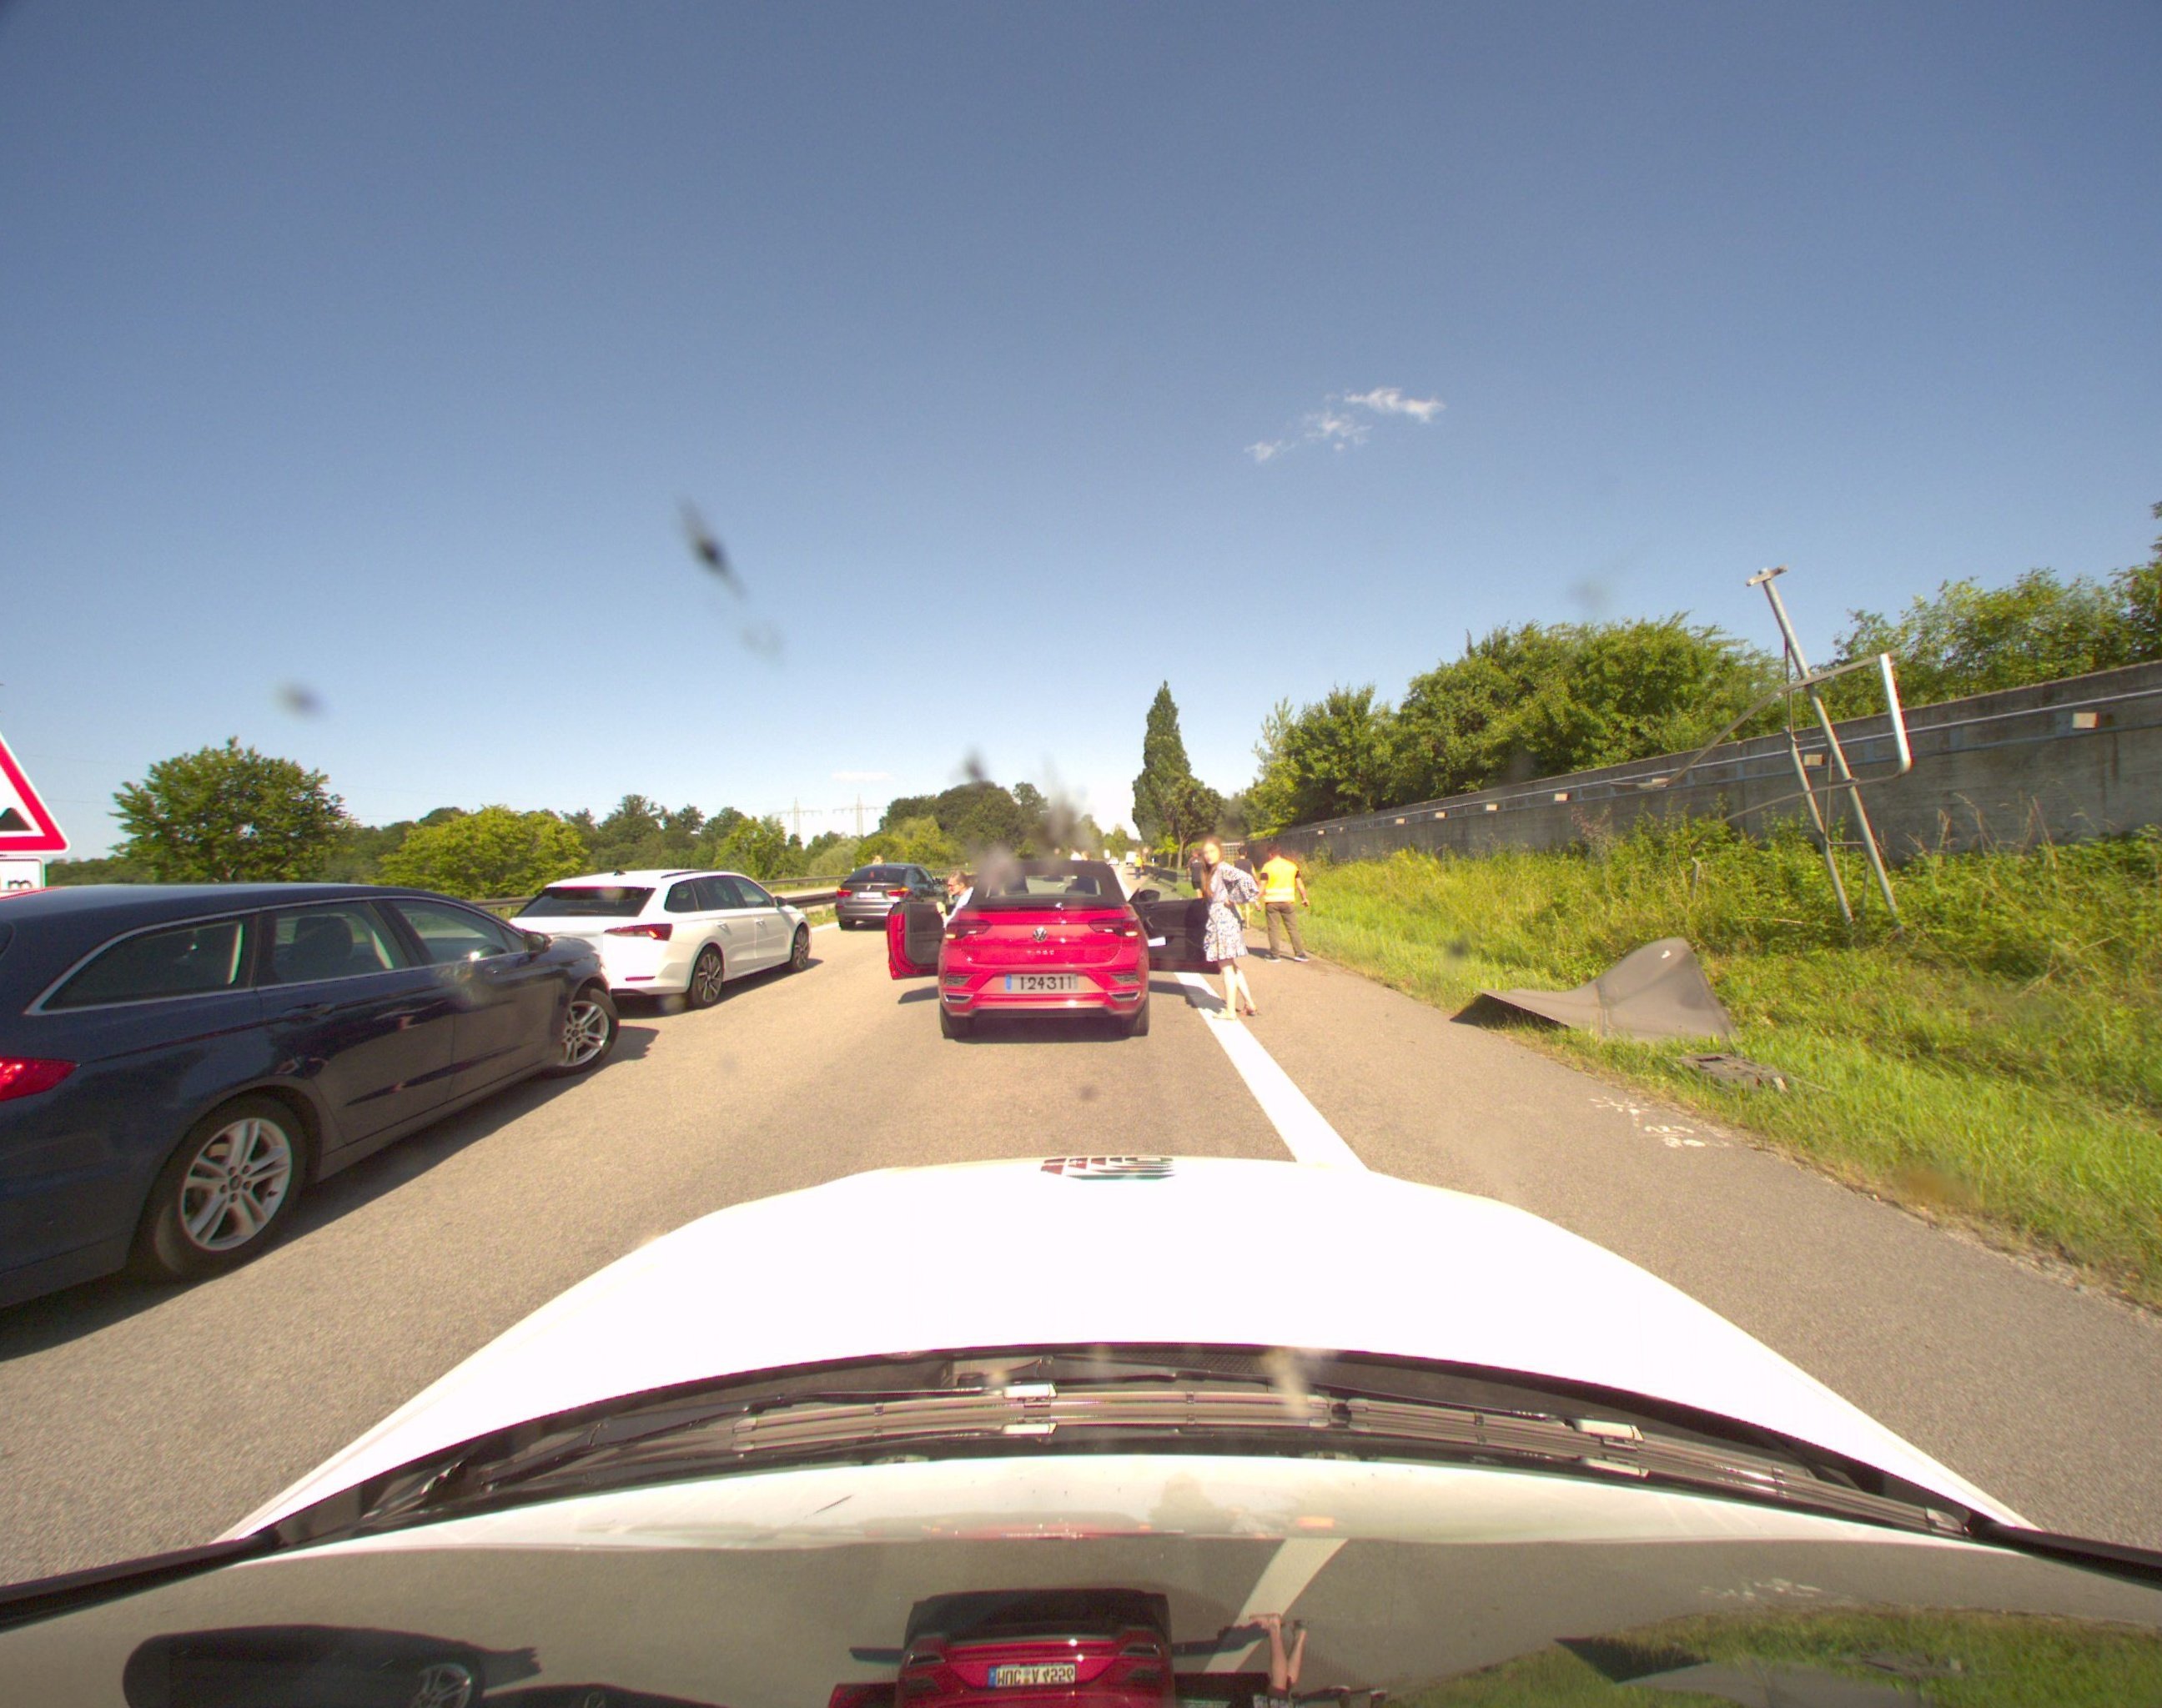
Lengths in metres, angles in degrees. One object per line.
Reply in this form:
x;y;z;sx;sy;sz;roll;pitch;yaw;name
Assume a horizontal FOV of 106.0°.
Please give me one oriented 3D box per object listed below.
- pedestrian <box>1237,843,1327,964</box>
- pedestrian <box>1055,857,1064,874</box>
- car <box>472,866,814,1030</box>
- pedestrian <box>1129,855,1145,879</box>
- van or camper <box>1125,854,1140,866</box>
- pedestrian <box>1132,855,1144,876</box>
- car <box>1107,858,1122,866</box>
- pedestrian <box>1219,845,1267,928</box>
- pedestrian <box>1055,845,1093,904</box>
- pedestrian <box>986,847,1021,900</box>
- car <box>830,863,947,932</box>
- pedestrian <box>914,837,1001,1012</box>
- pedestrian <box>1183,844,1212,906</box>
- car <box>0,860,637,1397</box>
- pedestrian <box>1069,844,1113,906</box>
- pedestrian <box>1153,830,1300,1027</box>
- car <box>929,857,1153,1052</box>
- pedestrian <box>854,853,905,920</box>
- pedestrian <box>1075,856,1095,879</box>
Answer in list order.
2.949;0.698;12.102;0.955;1.654;1.278;-2;0;-1;pedestrian
-2.212;1.169;82.343;0.787;1.689;0.793;-1;-1;6;pedestrian
-4.725;0.899;9.605;1.689;1.441;4.211;-1;0;1;car
3.971;0.939;57.829;1.050;1.689;1.019;-1;-1;7;pedestrian
10.146;1.147;160.270;1.978;2.316;4.490;-1;-1;17;van or camper
4.766;0.951;68.285;0.992;1.689;1.011;-1;-1;4;pedestrian
6.667;1.538;161.720;1.719;1.487;4.229;-1;0;17;car
3.435;0.684;17.355;0.891;1.725;0.755;-1;-1;3;pedestrian
-0.248;0.673;27.546;1.104;1.912;1.254;-2;0;-7;pedestrian
-2.652;0.657;28.090;1.101;1.789;1.091;0;-1;-1;pedestrian
-4.432;0.943;19.422;1.689;1.426;4.334;-1;0;1;car
-1.292;0.688;8.412;0.743;1.683;0.837;-2;-1;-16;pedestrian
3.384;0.604;23.653;0.807;1.759;0.830;-1;-1;9;pedestrian
-4.166;0.815;4.114;1.786;1.493;4.482;-2;0;-7;car
0.311;0.658;25.532;1.057;1.883;1.098;-2;0;16;pedestrian
1.332;0.656;7.651;1.123;1.695;0.891;-2;0;-4;pedestrian
-0.273;0.789;8.426;1.726;1.487;4.211;-1;0;1;car
-5.564;0.883;22.553;1.036;1.763;1.119;-2;0;3;pedestrian
0.307;0.970;59.817;1.103;1.689;0.979;-1;-1;24;pedestrian
